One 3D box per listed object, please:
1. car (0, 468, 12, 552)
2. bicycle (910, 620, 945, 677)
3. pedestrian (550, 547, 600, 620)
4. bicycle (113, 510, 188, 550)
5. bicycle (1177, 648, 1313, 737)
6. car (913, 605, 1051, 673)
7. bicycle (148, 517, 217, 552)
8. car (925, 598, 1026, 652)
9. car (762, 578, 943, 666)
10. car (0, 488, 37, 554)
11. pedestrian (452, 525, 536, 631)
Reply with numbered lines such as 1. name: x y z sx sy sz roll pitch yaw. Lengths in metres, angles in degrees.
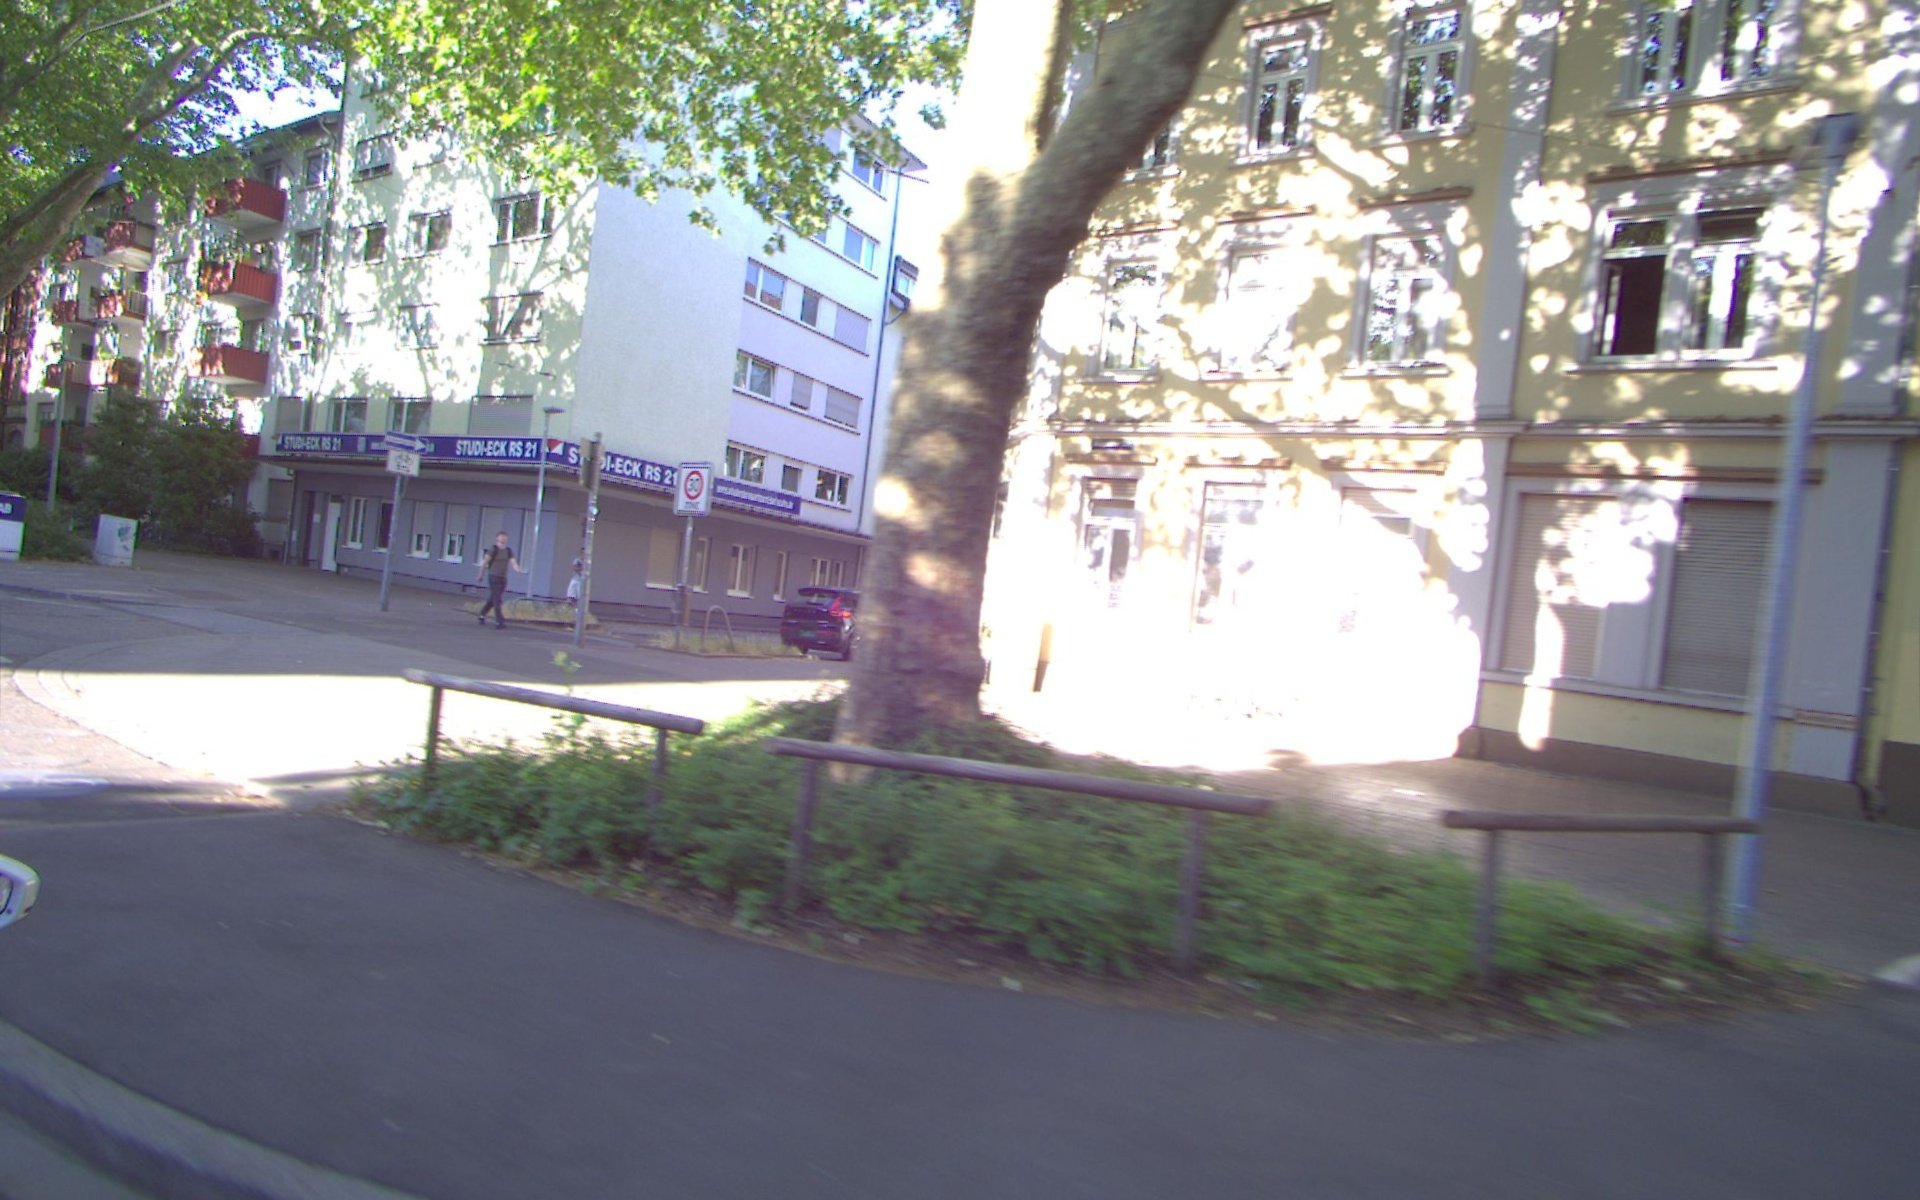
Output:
1. car: -26.349 -2.539 24.301 1.967 2.102 4.551 7 0 30
2. bicycle: -0.670 0.951 20.203 0.559 1.019 1.835 7 -1 -3
3. pedestrian: -9.381 -0.402 24.535 0.655 1.665 0.747 7 1 34
4. bicycle: -28.233 -2.431 35.121 0.562 1.172 1.948 6 1 25
5. bicycle: 4.487 1.427 15.891 1.891 1.118 0.582 7 2 32
6. car: 0.695 1.118 27.575 1.966 1.522 4.138 5 -1 29
7. bicycle: -27.697 -2.329 35.860 0.607 1.055 1.793 7 2 28
8. car: 0.661 0.997 38.906 1.966 1.626 4.138 9 1 29
9. car: -2.346 0.564 22.999 1.966 1.612 4.139 7 -1 29
10. car: -24.246 -2.083 22.946 1.800 1.497 4.302 7 0 31
11. pedestrian: -9.034 -0.419 19.508 1.168 1.890 0.767 7 1 29
